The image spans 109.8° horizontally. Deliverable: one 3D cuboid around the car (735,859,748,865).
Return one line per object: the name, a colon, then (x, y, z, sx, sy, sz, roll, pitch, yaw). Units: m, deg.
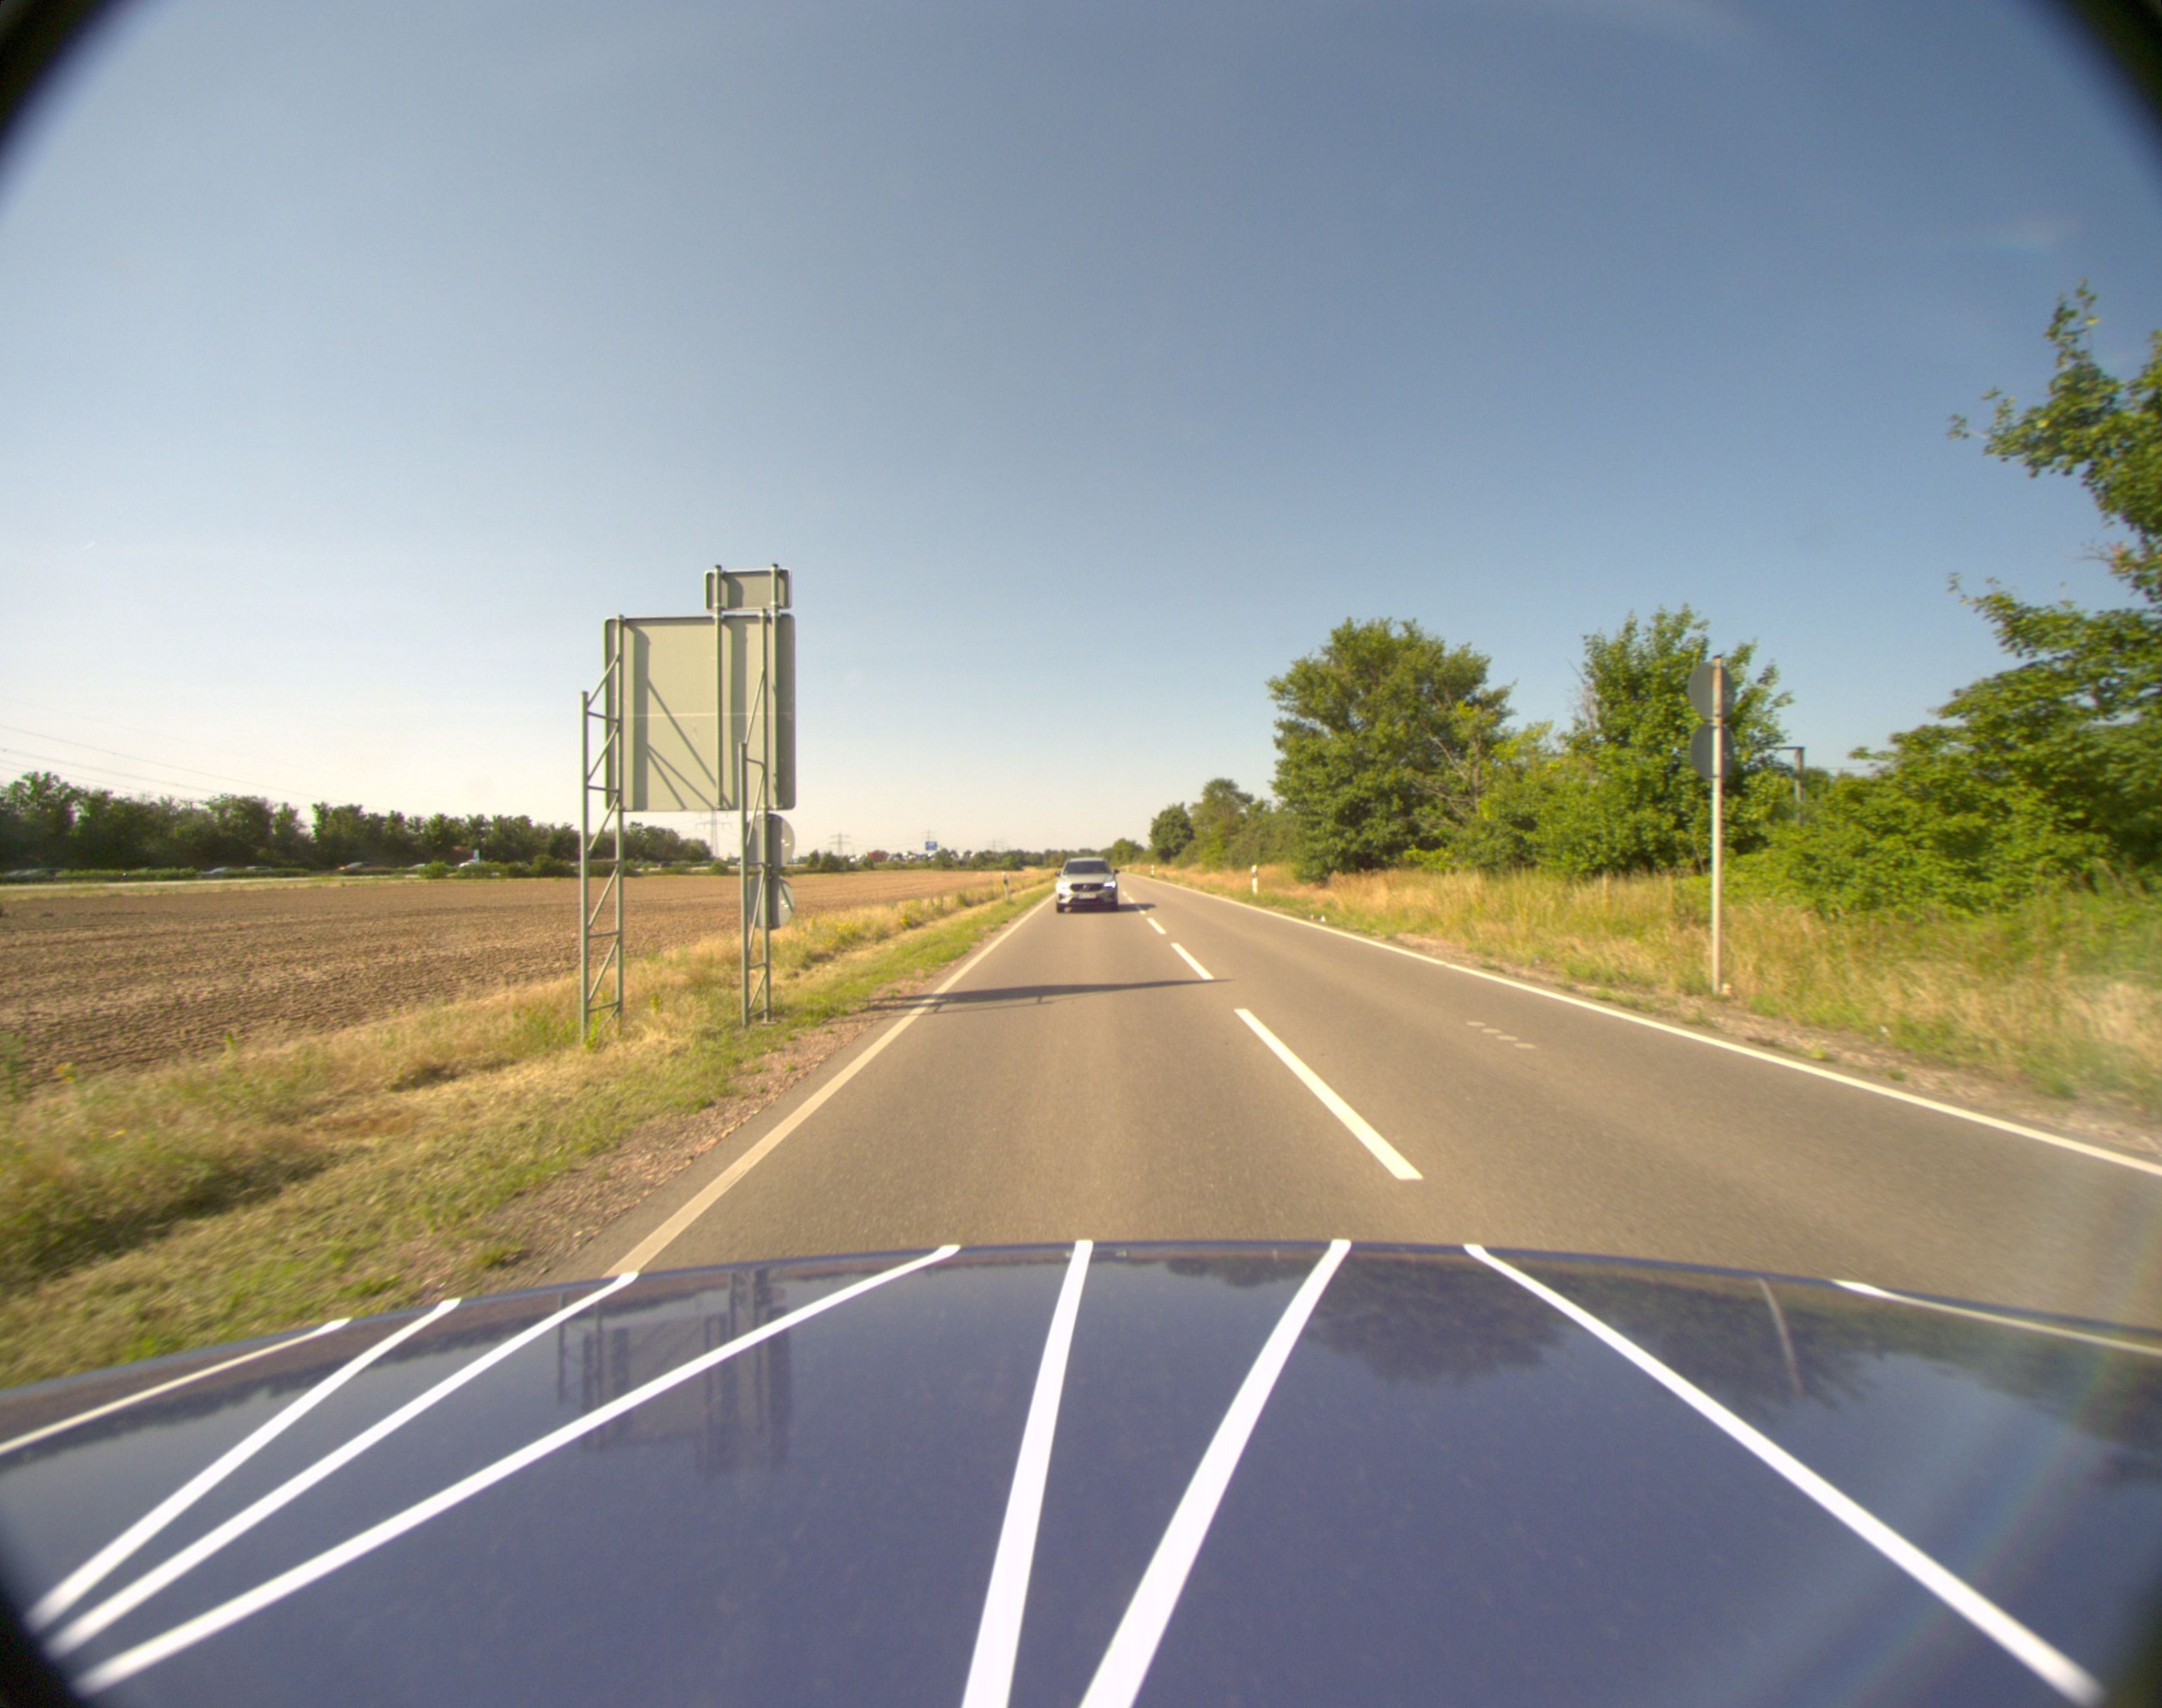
car: (-81.725, 1.859, 182.855, 1.583, 1.256, 3.551, -2, 0, 0)

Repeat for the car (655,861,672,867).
car: (-86.758, 2.095, 157.970, 1.583, 1.256, 3.551, -2, 0, 0)

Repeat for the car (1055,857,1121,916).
car: (0.217, 0.952, 24.030, 1.840, 1.628, 4.135, -2, 0, 0)

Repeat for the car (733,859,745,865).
car: (-86.652, 2.053, 192.536, 1.583, 1.256, 3.551, -2, 0, 0)
